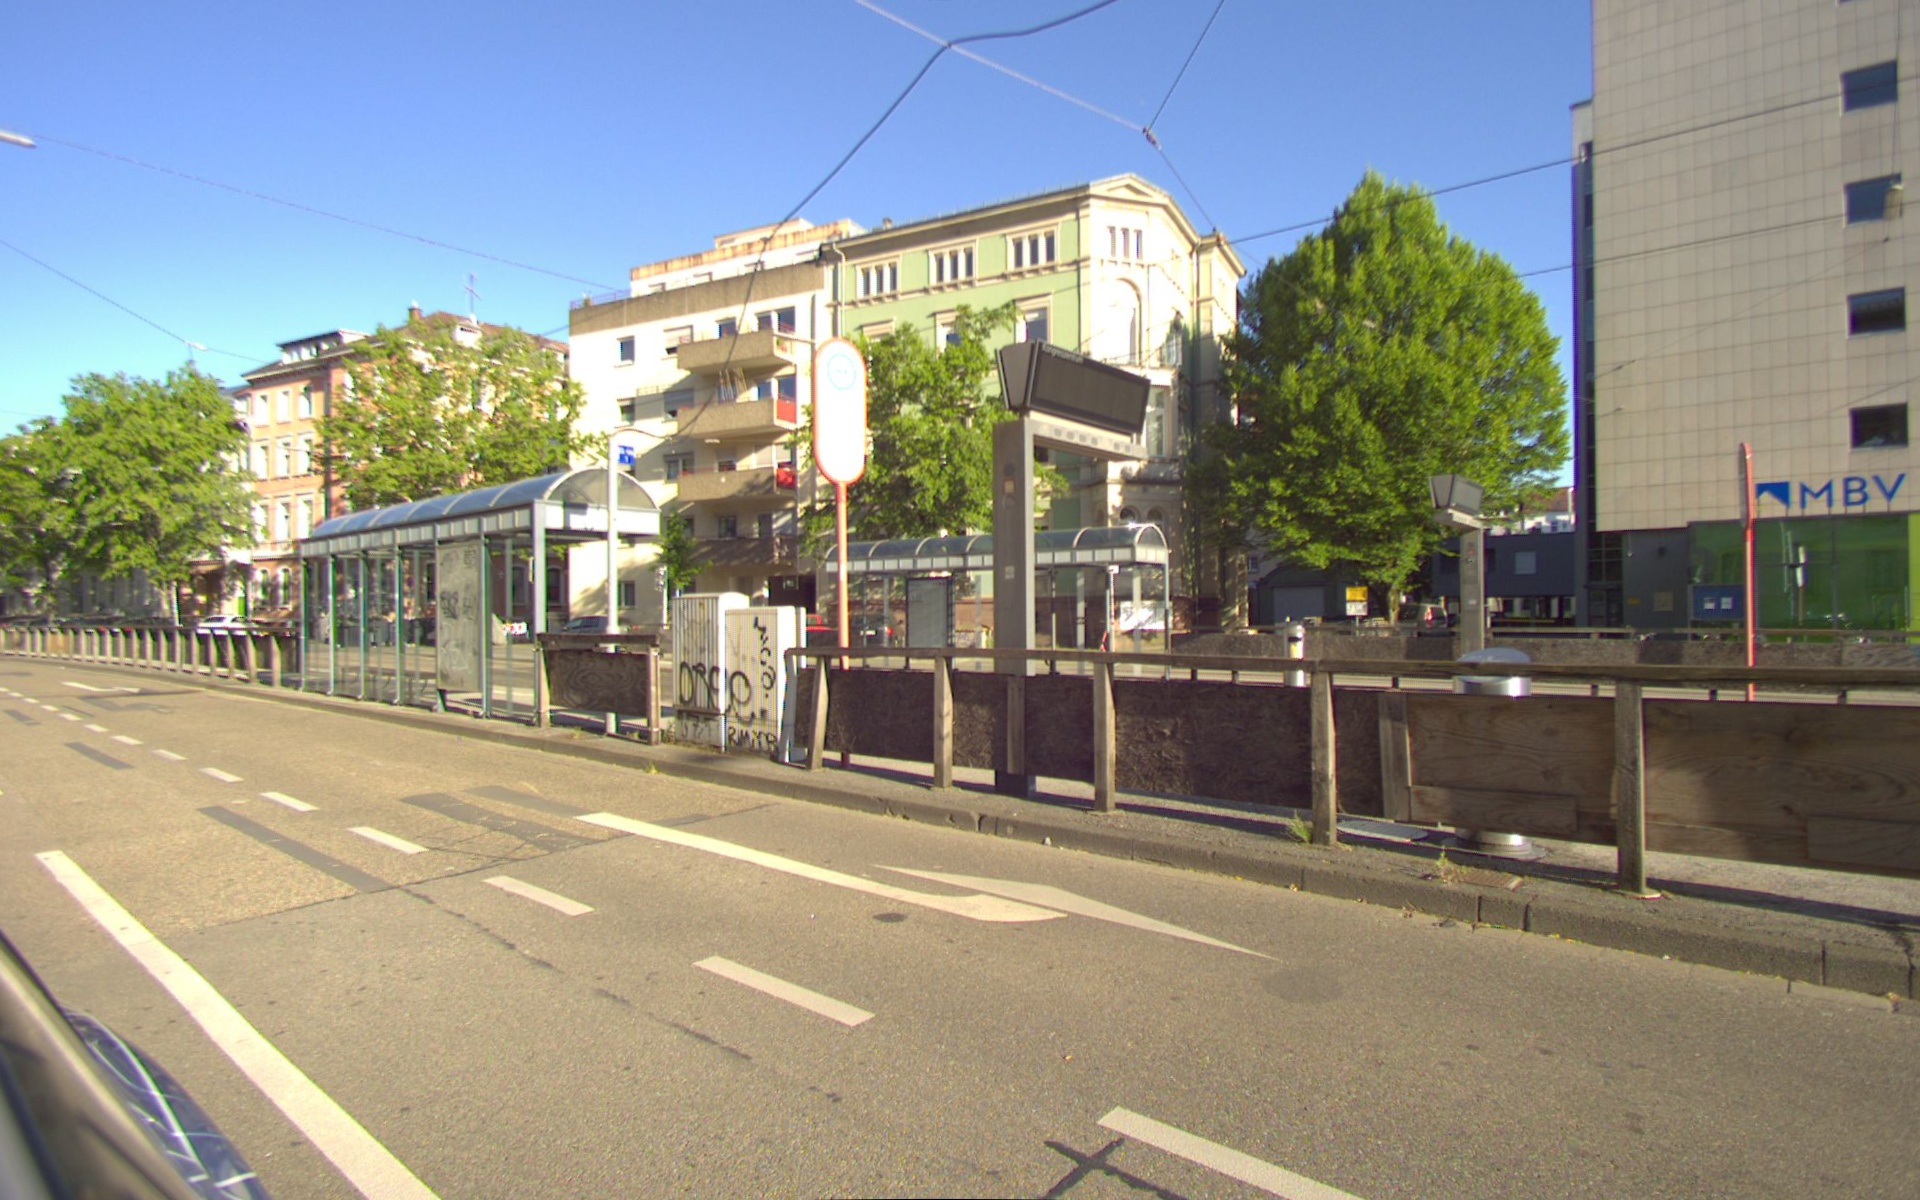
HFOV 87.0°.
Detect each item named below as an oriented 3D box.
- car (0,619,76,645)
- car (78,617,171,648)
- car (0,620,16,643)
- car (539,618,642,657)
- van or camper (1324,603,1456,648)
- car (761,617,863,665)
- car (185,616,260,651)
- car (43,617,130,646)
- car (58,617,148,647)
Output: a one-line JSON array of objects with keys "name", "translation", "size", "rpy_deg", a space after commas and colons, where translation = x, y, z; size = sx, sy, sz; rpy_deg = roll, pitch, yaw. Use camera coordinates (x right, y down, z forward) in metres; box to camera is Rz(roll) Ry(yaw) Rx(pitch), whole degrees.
[{"name": "car", "translation": [-59.617, 2.067, 65.276], "size": [3.811, 1.604, 2.001], "rpy_deg": [1, -2, -45]}, {"name": "car", "translation": [-47.983, 1.831, 58.163], "size": [2.001, 1.697, 3.942], "rpy_deg": [-2, -2, 44]}, {"name": "car", "translation": [-68.106, 2.199, 70.121], "size": [2.001, 1.604, 3.812], "rpy_deg": [-2, -2, 44]}, {"name": "car", "translation": [-14.009, 1.418, 38.401], "size": [3.498, 1.406, 1.602], "rpy_deg": [-1, -2, 22]}, {"name": "van or camper", "translation": [15.499, 0.889, 36.553], "size": [3.998, 1.417, 1.943], "rpy_deg": [2, 0, 41]}, {"name": "car", "translation": [-5.008, 1.369, 34.696], "size": [1.763, 1.547, 3.763], "rpy_deg": [-1, -2, 23]}, {"name": "car", "translation": [-39.528, 1.758, 54.381], "size": [1.966, 1.736, 4.012], "rpy_deg": [0, 1, -15]}, {"name": "car", "translation": [-54.307, 1.941, 62.964], "size": [2.001, 1.697, 3.942], "rpy_deg": [-2, -2, 44]}, {"name": "car", "translation": [-51.300, 1.895, 60.636], "size": [2.001, 1.697, 3.942], "rpy_deg": [-2, -2, 44]}]
